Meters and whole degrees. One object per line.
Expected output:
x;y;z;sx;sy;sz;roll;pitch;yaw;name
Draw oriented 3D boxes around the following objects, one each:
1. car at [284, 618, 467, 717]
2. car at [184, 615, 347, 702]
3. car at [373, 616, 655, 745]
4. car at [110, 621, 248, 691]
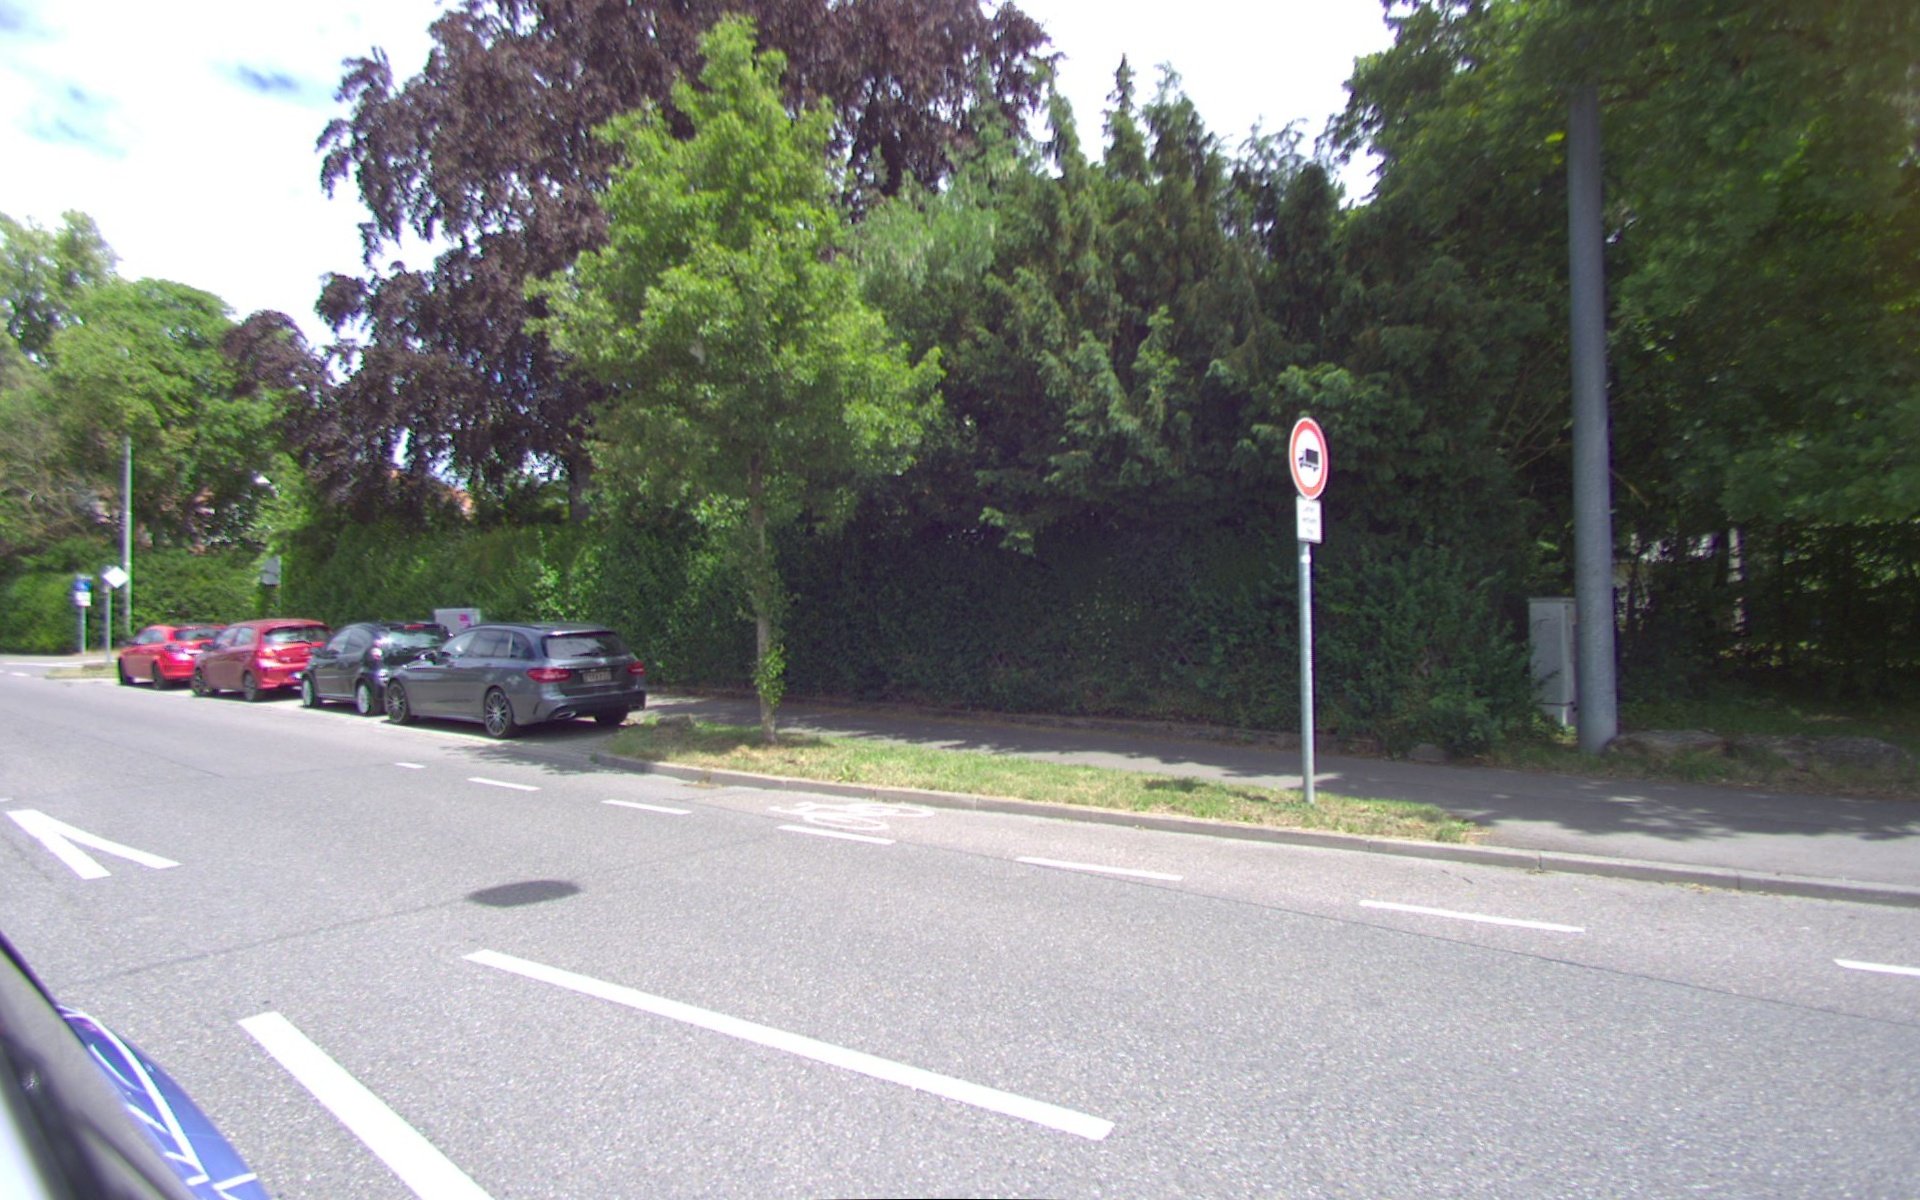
-9.733;1.039;16.797;3.189;1.422;1.540;0;1;38;car
-13.422;1.067;19.513;3.316;1.489;1.506;-1;0;35;car
-6.245;0.986;13.954;4.396;1.426;1.667;0;1;38;car
-17.538;1.196;22.687;3.367;1.377;1.513;0;1;35;car
